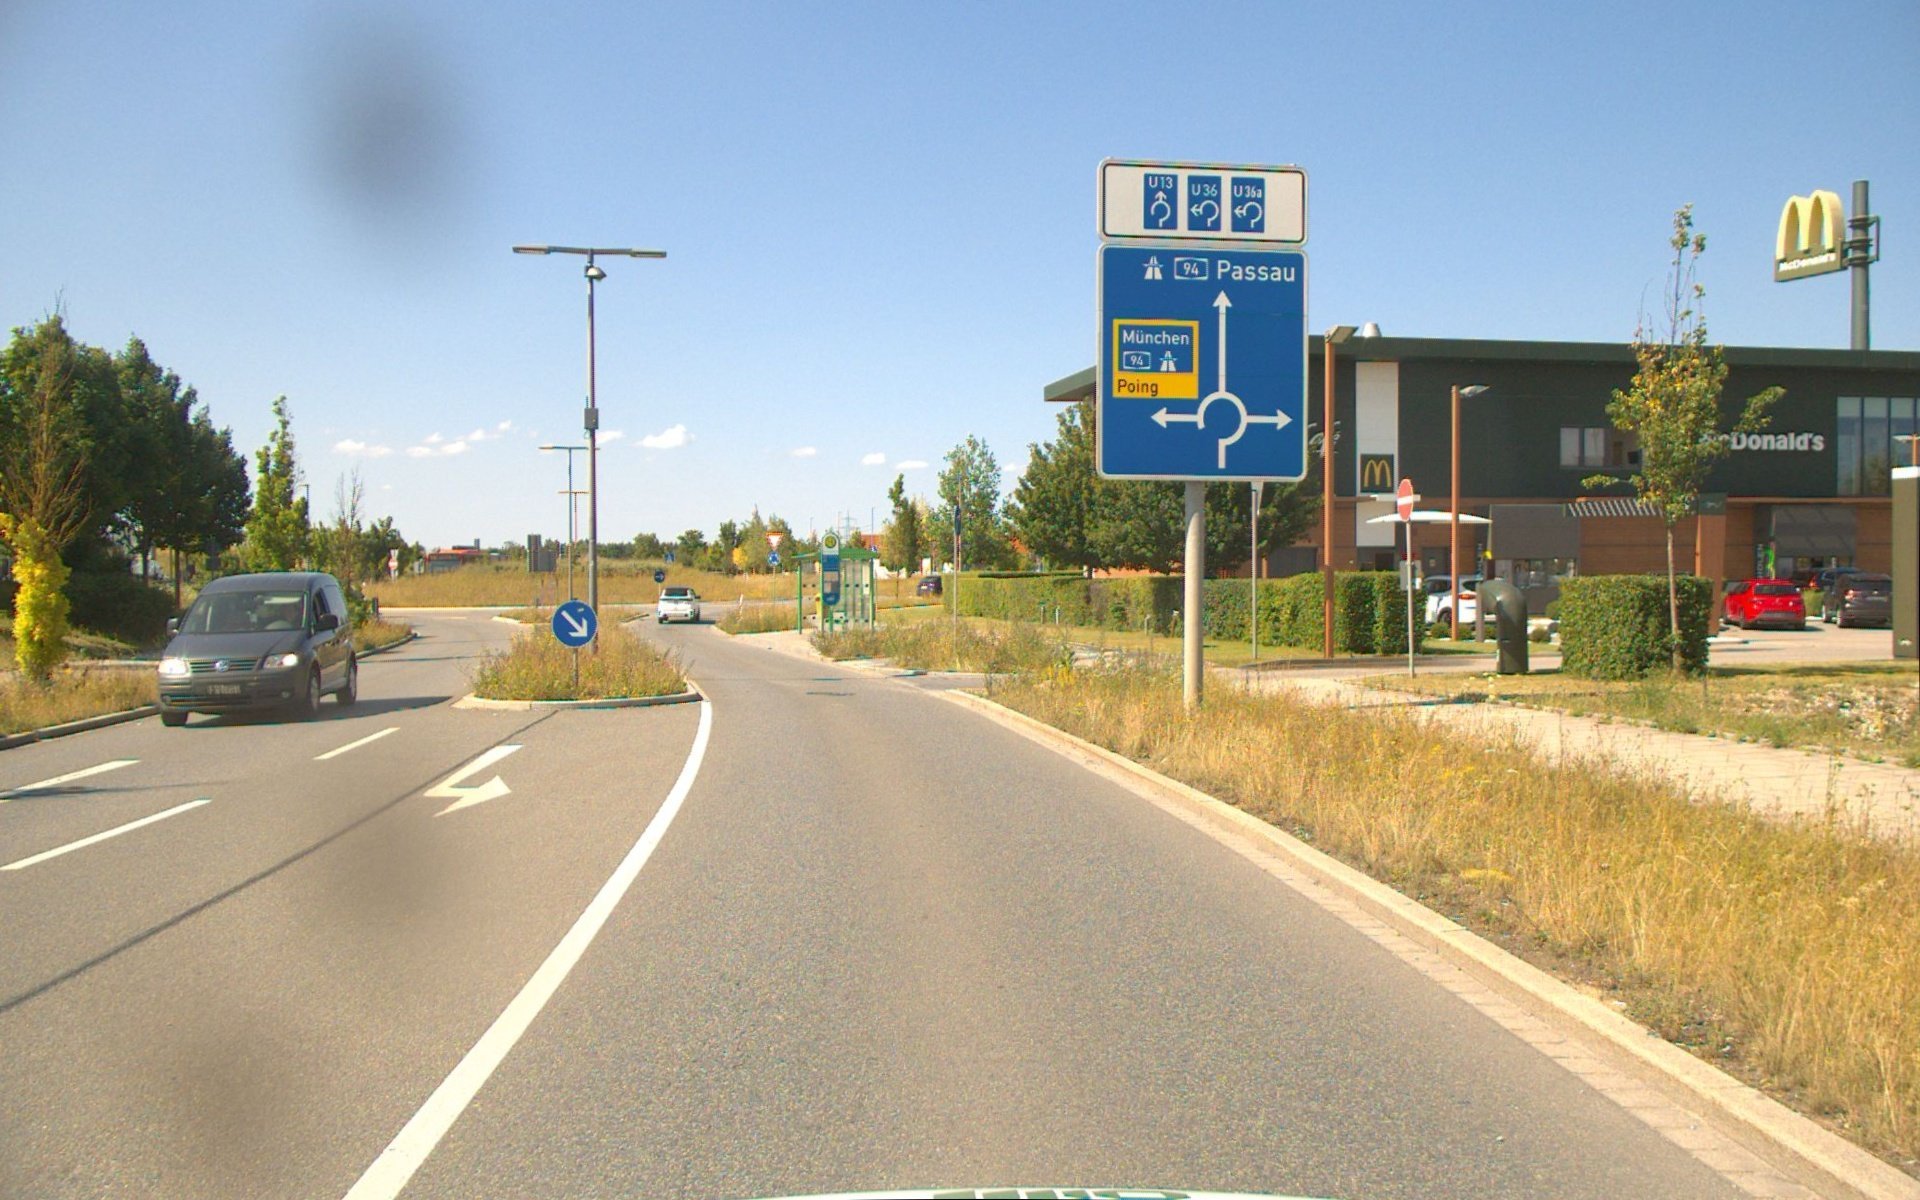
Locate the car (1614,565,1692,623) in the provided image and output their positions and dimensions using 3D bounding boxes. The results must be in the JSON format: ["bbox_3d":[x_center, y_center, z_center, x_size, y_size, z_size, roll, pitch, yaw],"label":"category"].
[{"bbox_3d":[20.625,-0.193,49.361,1.755,1.632,4.002,-1,0,17],"label":"car"}]

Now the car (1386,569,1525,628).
[{"bbox_3d":[12.976,-0.052,43.543,1.762,1.459,3.987,-1,0,-13],"label":"car"}]

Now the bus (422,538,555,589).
[{"bbox_3d":[-31.939,-2.567,112.802,2.728,3.132,12.215,-1,3,15],"label":"bus"}]

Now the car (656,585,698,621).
[{"bbox_3d":[-11.964,0.098,69.770,1.588,1.459,3.781,0,0,-12],"label":"car"}]

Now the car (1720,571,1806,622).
[{"bbox_3d":[24.088,-0.120,49.733,1.755,1.459,4.002,-1,0,17],"label":"car"}]

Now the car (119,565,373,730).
[{"bbox_3d":[-8.966,0.511,21.185,1.915,1.826,4.417,-2,1,-10],"label":"car"}]

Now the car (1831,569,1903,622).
[{"bbox_3d":[27.631,-0.166,50.476,1.758,1.539,3.996,-1,0,27],"label":"car"}]
